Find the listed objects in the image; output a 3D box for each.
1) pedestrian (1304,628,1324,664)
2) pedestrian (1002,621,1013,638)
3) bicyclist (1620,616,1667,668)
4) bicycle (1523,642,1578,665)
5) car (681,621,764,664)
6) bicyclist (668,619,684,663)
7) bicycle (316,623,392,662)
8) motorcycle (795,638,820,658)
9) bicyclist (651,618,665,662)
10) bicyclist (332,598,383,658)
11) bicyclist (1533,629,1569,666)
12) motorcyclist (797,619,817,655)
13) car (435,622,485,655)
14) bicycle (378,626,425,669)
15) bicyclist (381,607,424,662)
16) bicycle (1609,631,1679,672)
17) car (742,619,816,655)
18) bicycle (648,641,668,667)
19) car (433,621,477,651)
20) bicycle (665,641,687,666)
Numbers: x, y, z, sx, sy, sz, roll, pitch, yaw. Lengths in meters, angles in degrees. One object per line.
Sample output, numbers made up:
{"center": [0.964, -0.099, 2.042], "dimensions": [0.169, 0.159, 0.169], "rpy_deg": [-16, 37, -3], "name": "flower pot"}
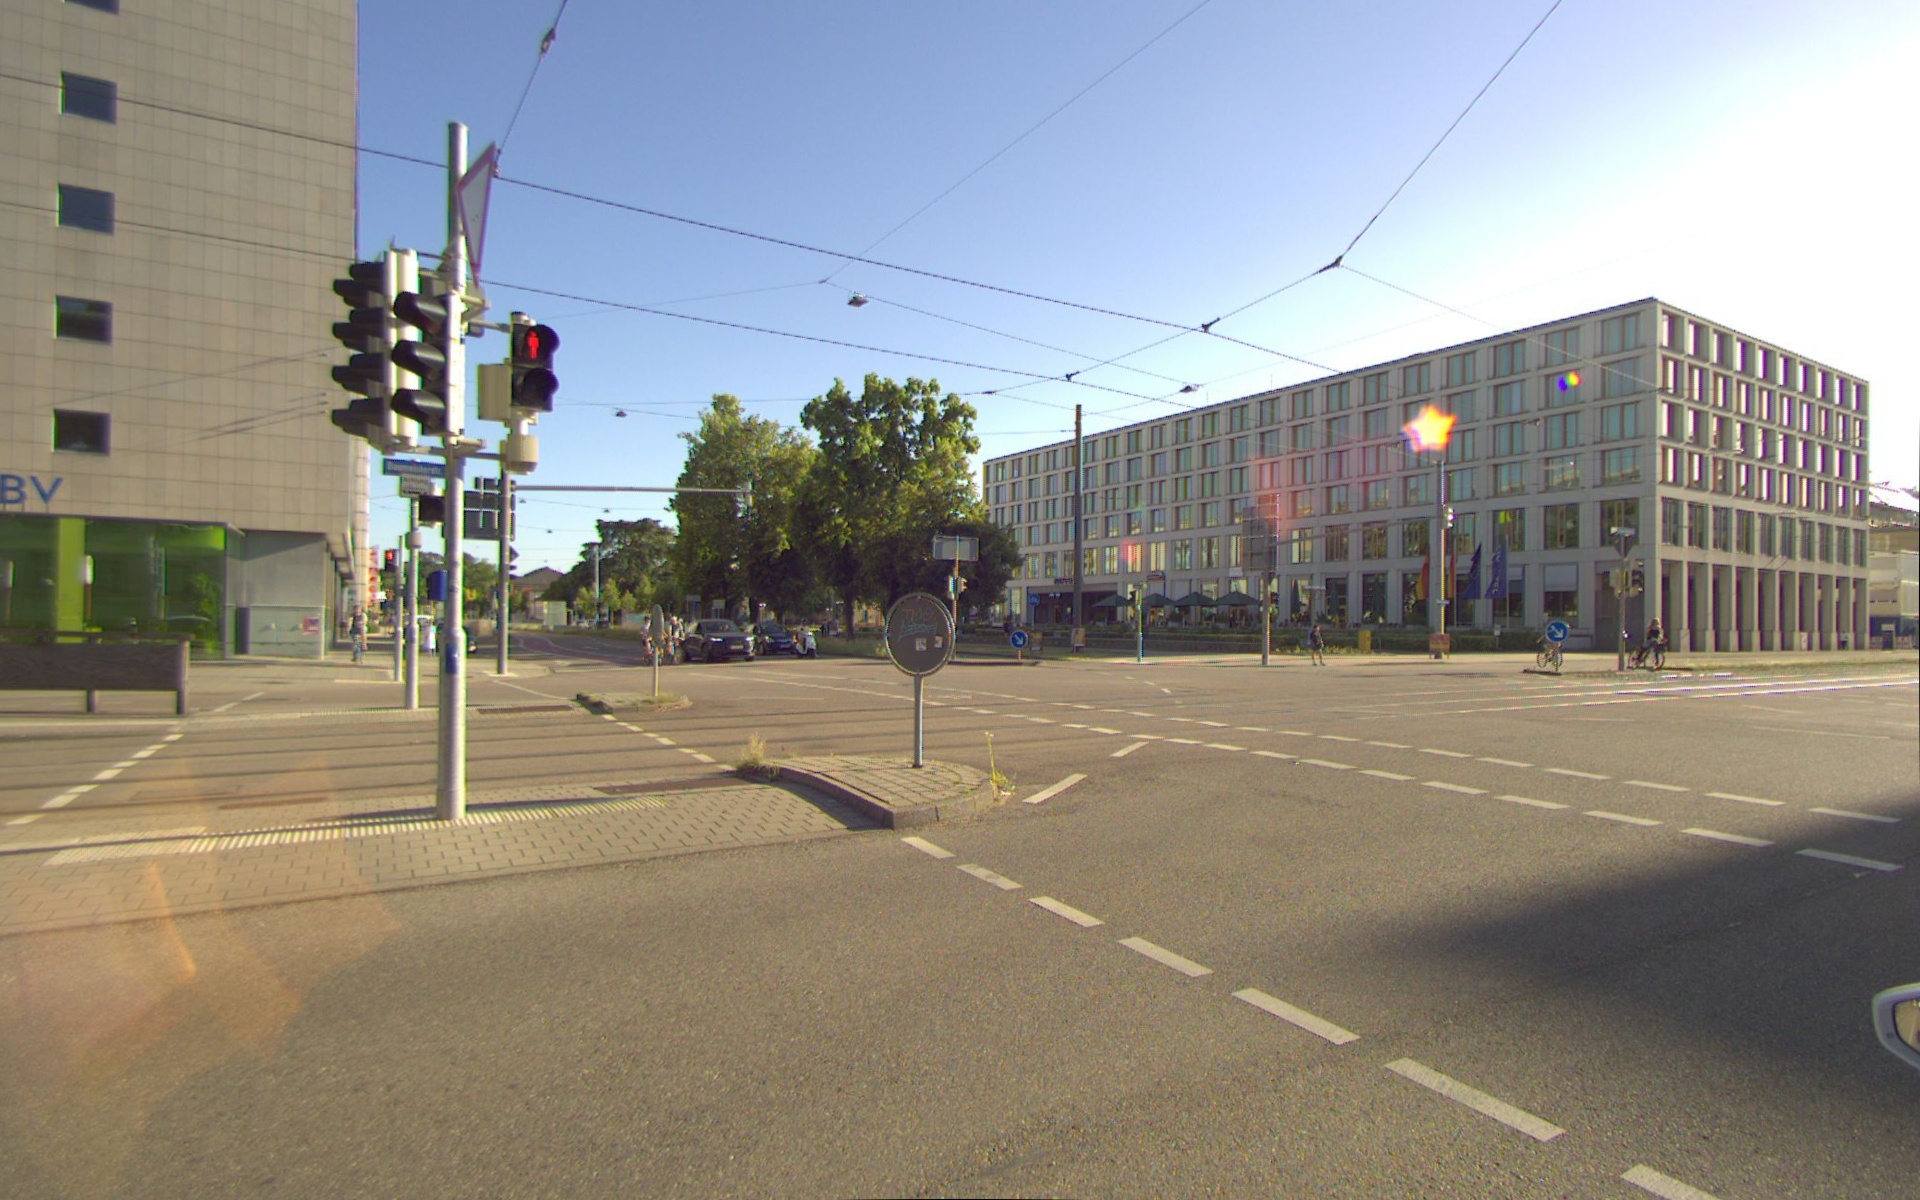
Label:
{"center": [15.559, 2.011, 44.119], "dimensions": [0.618, 1.546, 0.597], "rpy_deg": [1, -1, -36], "name": "pedestrian"}
{"center": [4.431, 2.721, 93.419], "dimensions": [0.776, 1.546, 0.756], "rpy_deg": [1, -1, -31], "name": "pedestrian"}
{"center": [21.858, 1.346, 32.133], "dimensions": [0.836, 1.640, 0.973], "rpy_deg": [1, -1, -2], "name": "bicyclist"}
{"center": [22.571, 2.025, 38.382], "dimensions": [2.309, 0.862, 0.836], "rpy_deg": [1, -2, -32], "name": "bicycle"}
{"center": [-9.495, 1.639, 39.910], "dimensions": [1.977, 1.594, 4.512], "rpy_deg": [1, -2, -31], "name": "car"}
{"center": [-10.563, 1.518, 37.382], "dimensions": [0.449, 1.596, 0.531], "rpy_deg": [1, -1, -31], "name": "bicyclist"}
{"center": [-17.957, 1.244, 29.823], "dimensions": [0.740, 1.081, 1.908], "rpy_deg": [3, -1, 16], "name": "bicycle"}
{"center": [-6.348, 2.006, 41.771], "dimensions": [0.617, 0.806, 1.298], "rpy_deg": [1, -2, -31], "name": "motorcycle"}
{"center": [-11.084, 1.478, 36.888], "dimensions": [0.354, 1.596, 0.531], "rpy_deg": [1, -1, -31], "name": "bicyclist"}
{"center": [-17.922, 0.842, 29.880], "dimensions": [0.749, 1.713, 0.947], "rpy_deg": [3, 0, 16], "name": "bicyclist"}
{"center": [22.578, 1.802, 38.382], "dimensions": [0.962, 1.380, 0.820], "rpy_deg": [1, -1, -32], "name": "bicyclist"}
{"center": [-6.369, 1.547, 41.822], "dimensions": [0.600, 1.465, 0.730], "rpy_deg": [1, -1, -31], "name": "motorcyclist"}
{"center": [-25.947, 1.970, 52.071], "dimensions": [1.977, 1.594, 4.512], "rpy_deg": [1, -2, -31], "name": "car"}
{"center": [-16.240, 1.363, 29.261], "dimensions": [0.871, 1.081, 2.171], "rpy_deg": [3, -1, -22], "name": "bicycle"}
{"center": [-16.186, 0.987, 29.186], "dimensions": [0.876, 1.526, 0.902], "rpy_deg": [4, 0, -22], "name": "bicyclist"}
{"center": [21.857, 1.639, 32.170], "dimensions": [0.830, 1.247, 2.014], "rpy_deg": [1, -1, -2], "name": "bicycle"}
{"center": [-8.517, 1.712, 46.893], "dimensions": [1.977, 1.594, 4.512], "rpy_deg": [1, -2, -31], "name": "car"}
{"center": [-11.090, 1.974, 36.881], "dimensions": [0.348, 0.885, 1.373], "rpy_deg": [1, -2, -31], "name": "bicycle"}
{"center": [-28.860, 2.025, 57.340], "dimensions": [1.977, 1.594, 4.512], "rpy_deg": [1, -2, -31], "name": "car"}
{"center": [-10.601, 1.995, 37.426], "dimensions": [0.447, 0.885, 1.373], "rpy_deg": [1, -2, -31], "name": "bicycle"}
